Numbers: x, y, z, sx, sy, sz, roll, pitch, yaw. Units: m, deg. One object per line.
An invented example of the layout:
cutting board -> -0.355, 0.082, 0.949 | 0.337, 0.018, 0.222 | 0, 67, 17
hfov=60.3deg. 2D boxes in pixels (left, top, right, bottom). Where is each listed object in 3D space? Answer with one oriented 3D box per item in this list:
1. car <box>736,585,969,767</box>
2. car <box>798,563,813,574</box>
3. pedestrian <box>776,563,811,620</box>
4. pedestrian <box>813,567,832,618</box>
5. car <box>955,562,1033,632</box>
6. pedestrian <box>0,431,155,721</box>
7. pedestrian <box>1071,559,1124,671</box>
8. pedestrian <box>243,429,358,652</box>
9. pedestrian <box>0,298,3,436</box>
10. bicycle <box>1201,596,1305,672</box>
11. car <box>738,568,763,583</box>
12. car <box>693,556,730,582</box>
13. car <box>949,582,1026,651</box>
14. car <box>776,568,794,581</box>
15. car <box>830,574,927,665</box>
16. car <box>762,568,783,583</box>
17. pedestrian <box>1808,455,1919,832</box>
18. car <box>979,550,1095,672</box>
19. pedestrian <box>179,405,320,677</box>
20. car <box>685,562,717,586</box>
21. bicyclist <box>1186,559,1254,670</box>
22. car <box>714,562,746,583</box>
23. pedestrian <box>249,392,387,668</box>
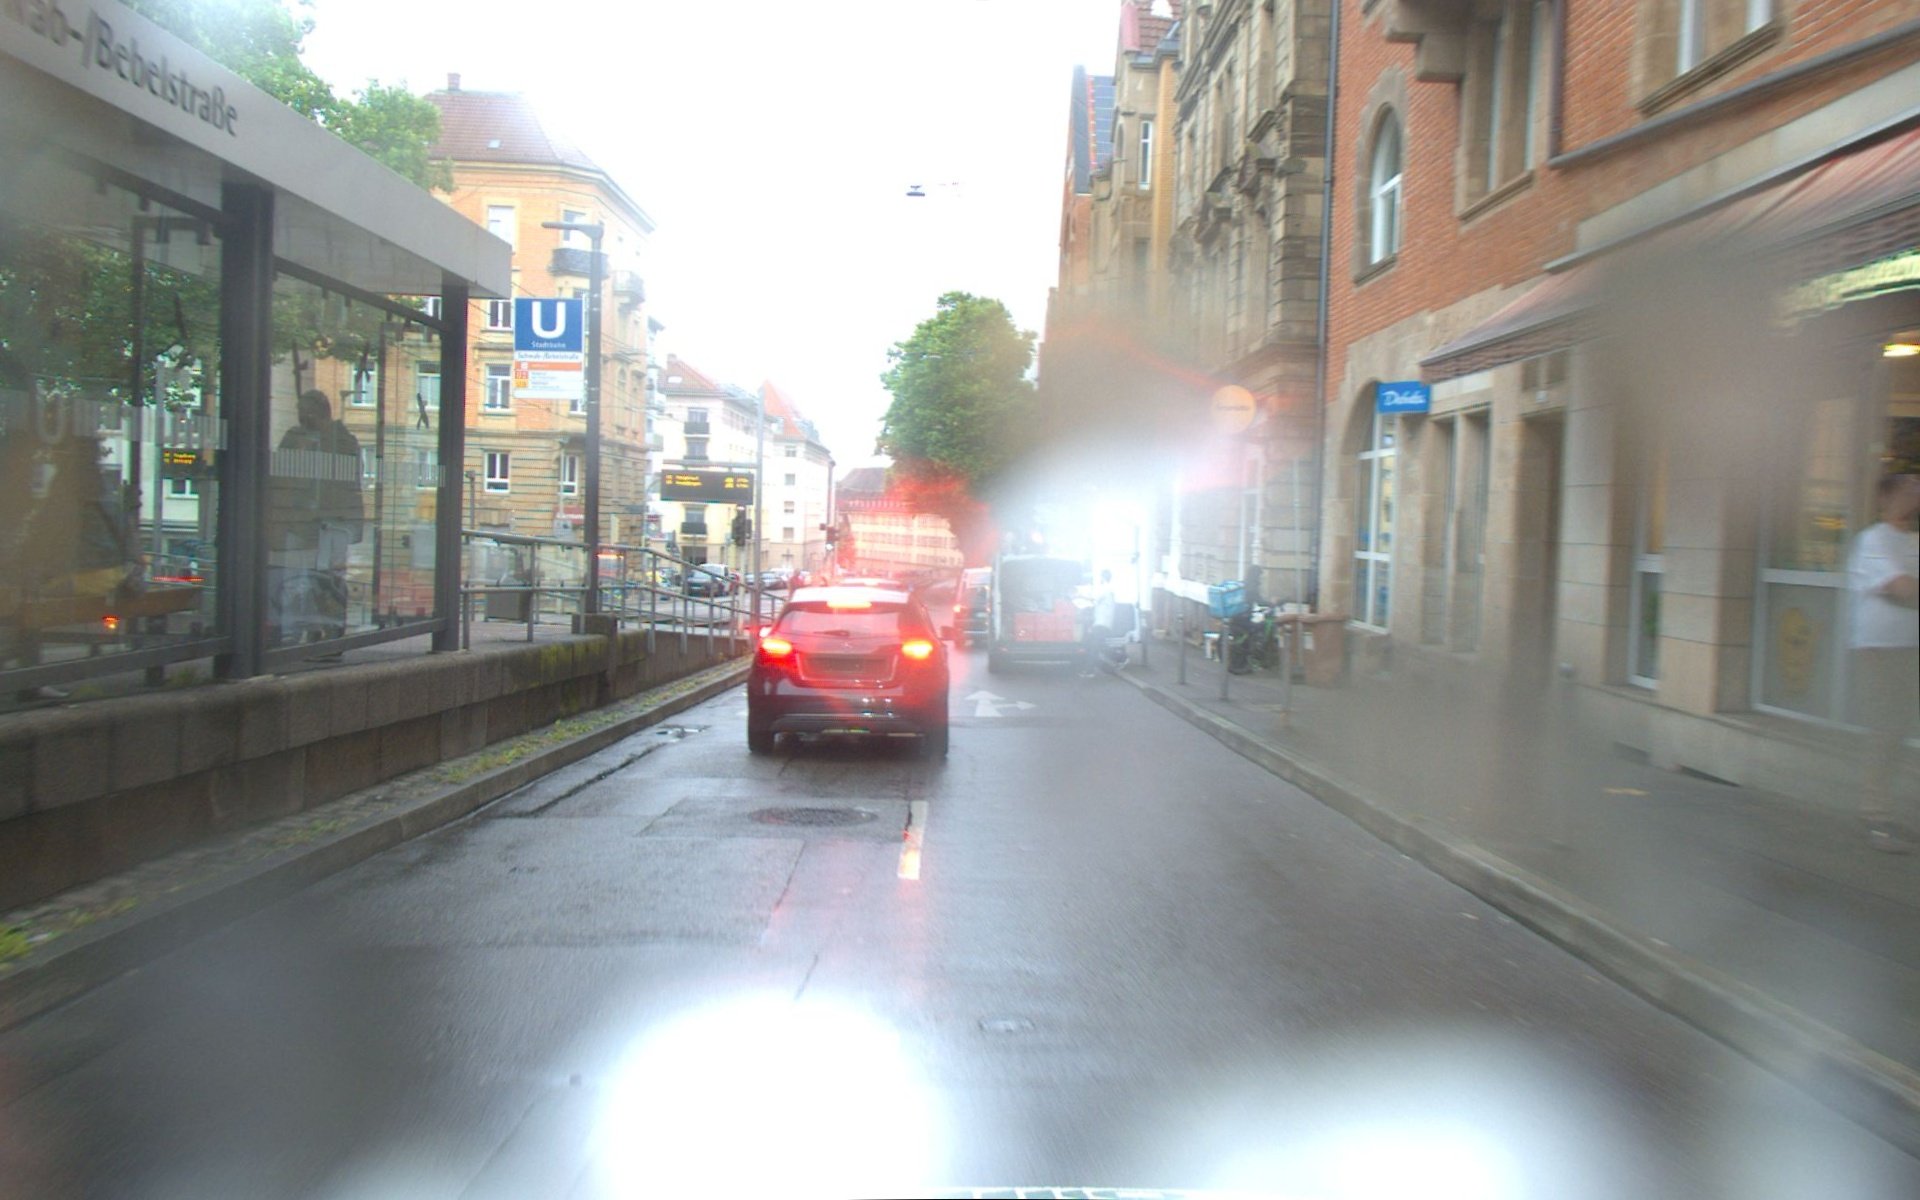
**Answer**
car -> -0.877, 0.604, 15.613 | 1.856, 1.414, 4.001 | 1, 1, 1
car -> -16.677, -3.410, 178.535 | 1.366, 1.191, 3.162 | 2, 1, 0
pedestrian -> -5.183, -0.265, 51.469 | 0.735, 1.754, 0.729 | 1, 1, -44
pedestrian -> -4.267, -0.226, 51.358 | 0.521, 1.557, 0.436 | 1, 1, -8
car -> 0.915, -0.129, 47.056 | 1.894, 1.863, 4.279 | 2, 1, -3
pedestrian -> -4.068, -0.114, 7.446 | 0.601, 1.248, 0.507 | 2, 1, 3
pedestrian -> 2.238, 0.233, 26.843 | 0.816, 1.784, 0.687 | 0, 1, 7
pedestrian -> -4.891, -0.439, 12.289 | 0.601, 1.608, 0.507 | 2, 1, 3
pedestrian -> -4.057, -0.385, 6.290 | 0.495, 1.617, 0.527 | 2, 1, -1
bicycle -> 4.489, 0.505, 25.322 | 1.665, 1.135, 0.460 | 0, 0, -30
car -> -15.914, -1.883, 125.739 | 1.407, 1.126, 3.162 | 2, 1, 0
car -> -16.007, -1.994, 106.857 | 1.750, 1.556, 4.462 | 2, 1, -1
car -> 0.714, 0.352, 39.876 | 1.677, 1.494, 4.283 | 2, 1, 3
car -> -16.603, -2.397, 156.783 | 1.366, 1.191, 3.162 | 2, 1, 0
car -> -1.466, 0.310, 30.188 | 1.646, 1.515, 3.612 | 1, 1, -2
car -> -15.779, -2.074, 139.119 | 1.366, 1.191, 3.162 | 2, 1, 0
pedestrian -> 4.813, 0.207, 8.490 | 0.566, 1.862, 0.563 | -2, 0, -3
car -> 1.316, 0.147, 29.768 | 1.881, 1.969, 4.686 | 1, 1, 1
pedestrian -> -4.344, -0.358, 10.135 | 0.601, 1.608, 0.507 | 2, 1, 3
car -> -15.687, -1.564, 100.206 | 1.422, 1.341, 3.295 | 3, 1, -1
bicyclist -> 4.027, 0.213, 25.617 | 0.837, 1.686, 0.626 | 0, 0, -26
car -> -15.688, -1.876, 113.097 | 1.646, 1.379, 3.703 | 2, 1, 0
pedestrian -> -4.139, -0.447, 10.690 | 0.601, 1.717, 0.587 | 2, 1, 3
